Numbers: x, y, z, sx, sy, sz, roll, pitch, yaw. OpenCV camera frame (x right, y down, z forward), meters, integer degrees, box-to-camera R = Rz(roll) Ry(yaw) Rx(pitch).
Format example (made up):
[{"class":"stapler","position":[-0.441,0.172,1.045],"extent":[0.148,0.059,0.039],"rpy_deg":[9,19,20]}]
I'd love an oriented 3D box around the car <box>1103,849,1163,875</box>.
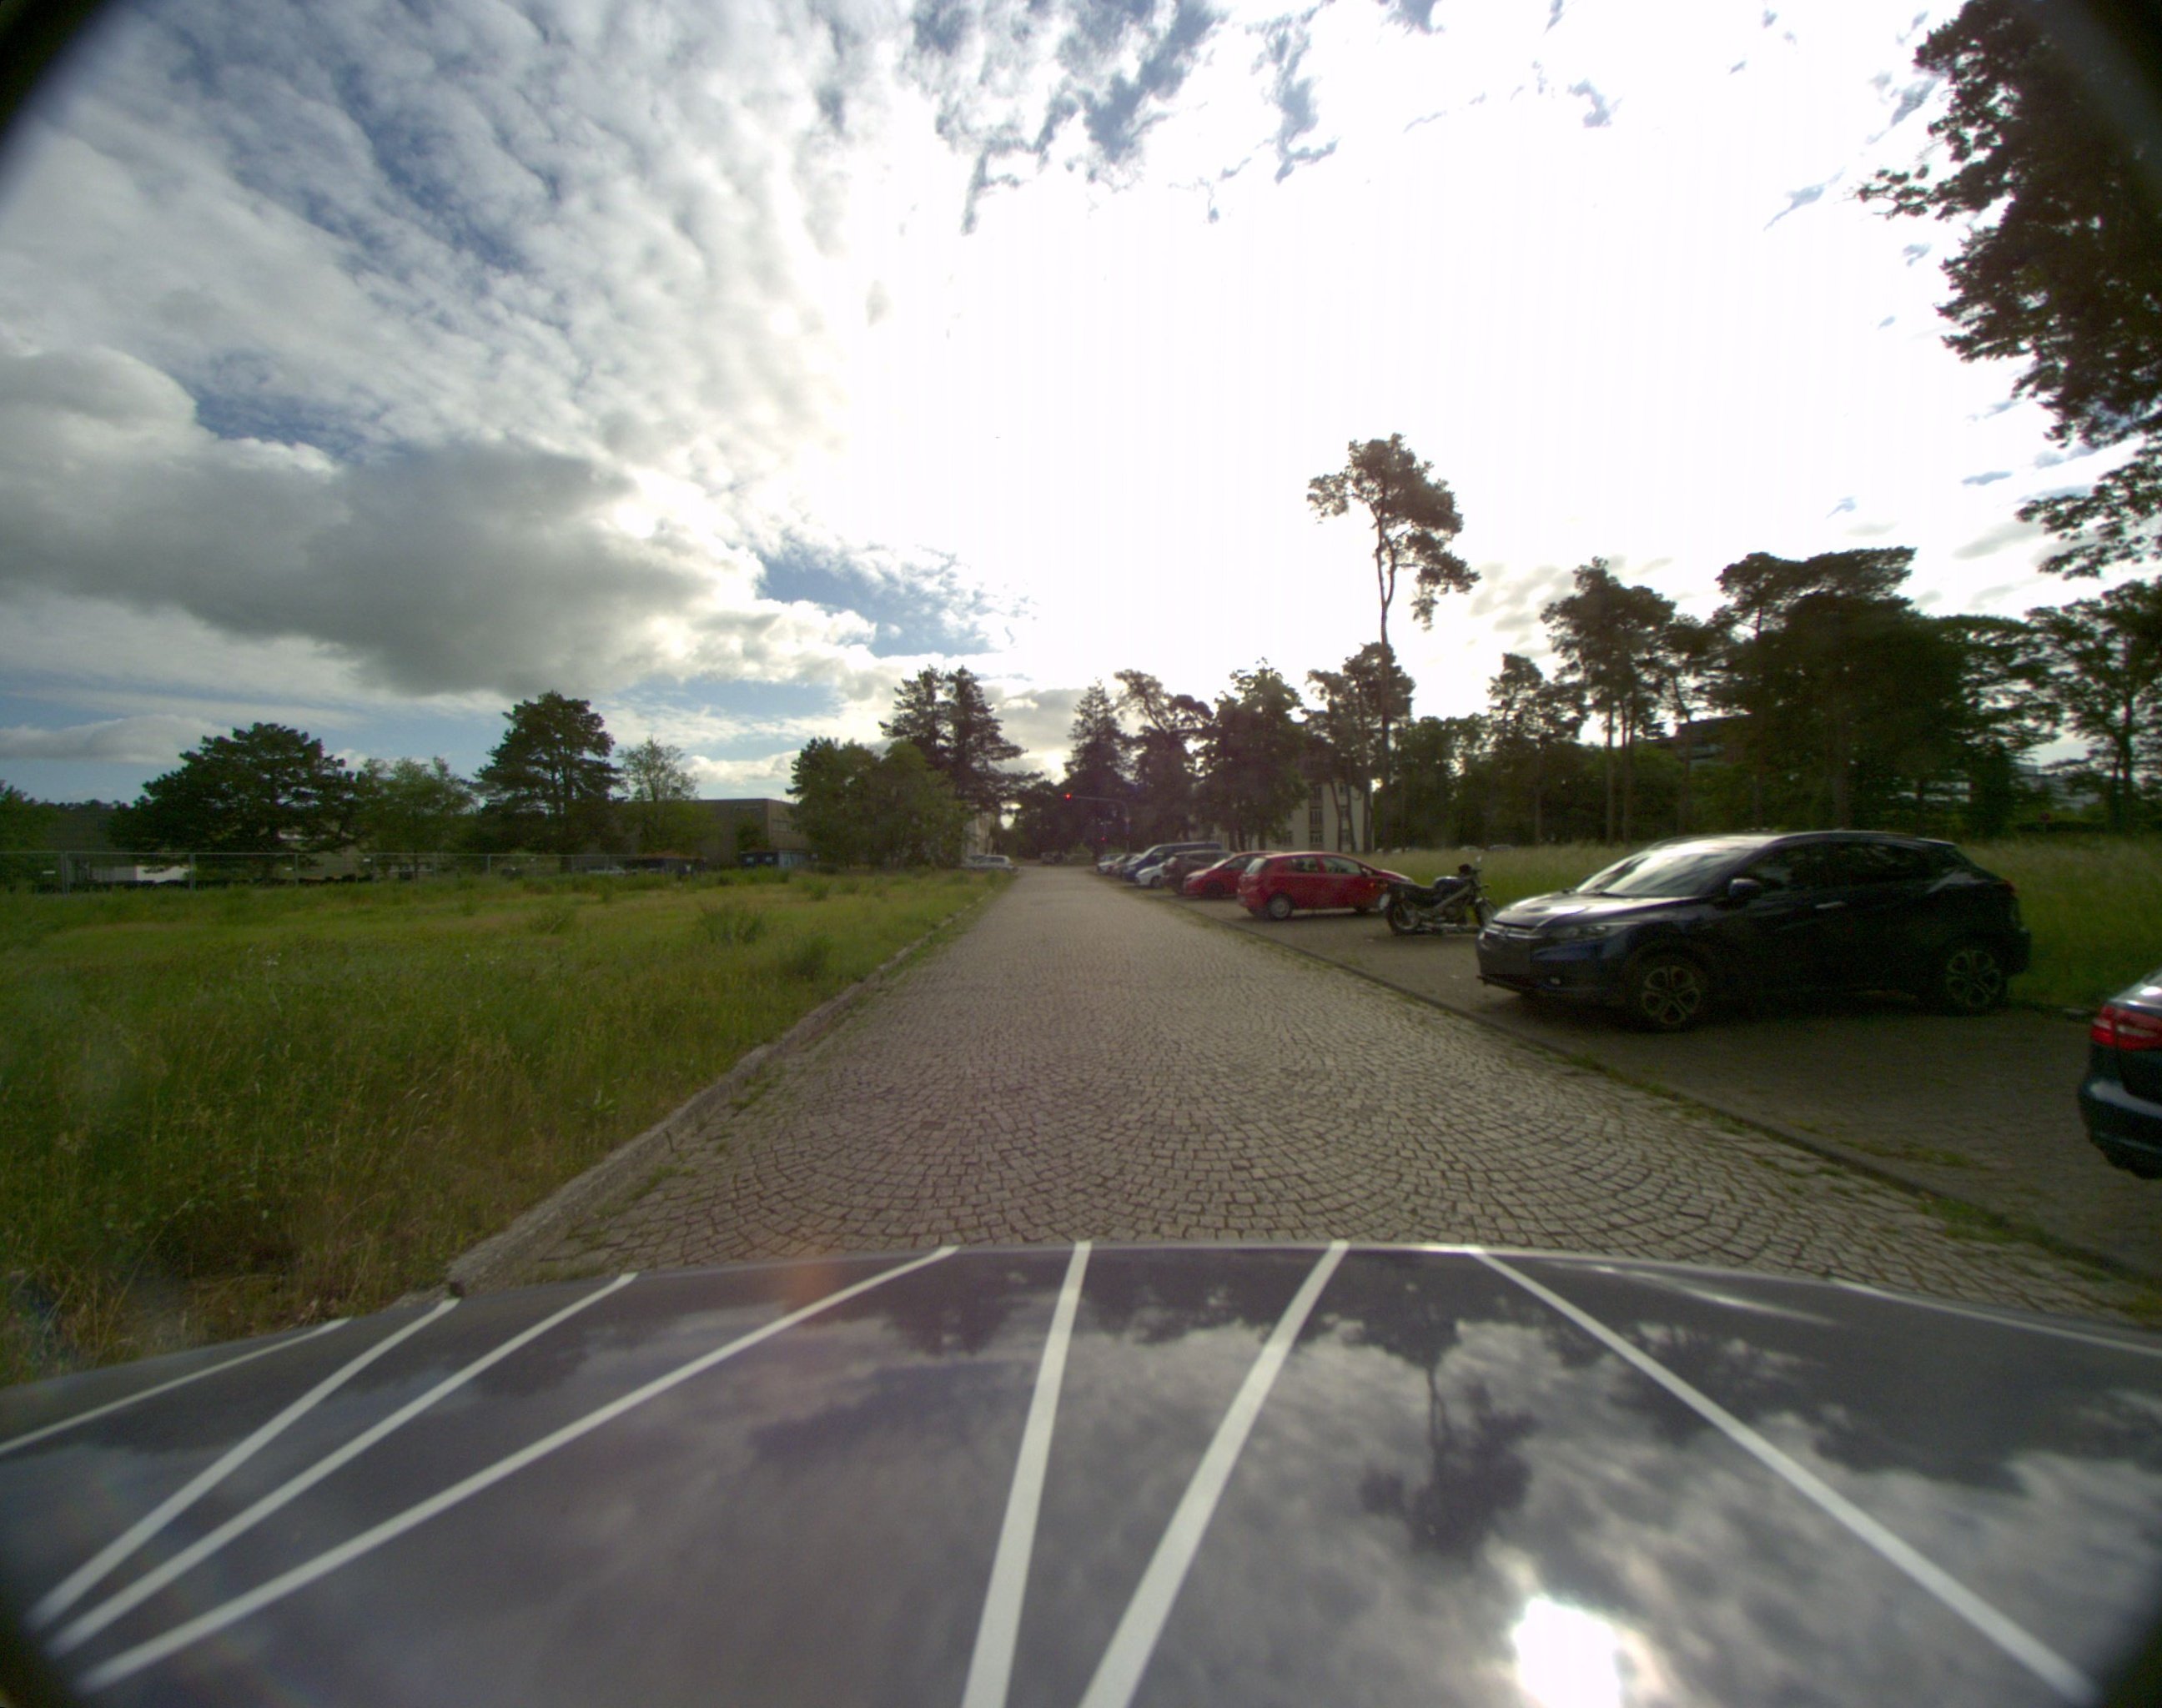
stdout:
[{"class":"car","position":[3.435,0.497,50.434],"extent":[3.573,1.408,1.636],"rpy_deg":[-4,2,-10]}]

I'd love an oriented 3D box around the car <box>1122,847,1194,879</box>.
[{"class":"car","position":[4.238,0.464,42.166],"extent":[3.601,1.446,1.686],"rpy_deg":[-4,2,-10]}]

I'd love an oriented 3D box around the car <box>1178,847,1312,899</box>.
[{"class":"car","position":[5.285,0.613,24.846],"extent":[3.952,1.511,1.707],"rpy_deg":[-2,0,-3]}]

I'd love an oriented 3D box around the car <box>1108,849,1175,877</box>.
[{"class":"car","position":[3.547,0.511,44.720],"extent":[3.601,1.413,1.616],"rpy_deg":[-3,1,-10]}]

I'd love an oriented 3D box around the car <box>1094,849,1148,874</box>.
[{"class":"car","position":[2.871,0.503,54.746],"extent":[3.573,1.479,1.601],"rpy_deg":[-4,2,-11]}]

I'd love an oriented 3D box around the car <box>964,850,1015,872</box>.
[{"class":"car","position":[-7.041,0.550,58.669],"extent":[3.731,1.430,1.625],"rpy_deg":[-3,2,-7]}]

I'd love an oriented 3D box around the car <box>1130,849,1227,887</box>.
[{"class":"car","position":[4.291,0.599,33.886],"extent":[3.931,1.385,1.742],"rpy_deg":[-4,2,-5]}]

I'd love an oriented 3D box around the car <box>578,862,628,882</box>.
[{"class":"car","position":[-46.428,1.731,73.876],"extent":[3.779,1.892,1.995],"rpy_deg":[0,-2,-43]}]

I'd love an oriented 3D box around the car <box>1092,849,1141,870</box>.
[{"class":"car","position":[2.797,0.426,60.286],"extent":[3.456,1.424,1.626],"rpy_deg":[-4,2,-13]}]

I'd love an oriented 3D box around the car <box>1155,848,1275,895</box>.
[{"class":"car","position":[4.814,0.606,27.557],"extent":[3.917,1.594,1.820],"rpy_deg":[-1,0,-5]}]

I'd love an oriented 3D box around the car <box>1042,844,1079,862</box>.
[{"class":"car","position":[-3.405,-0.189,126.898],"extent":[5.798,2.548,2.767],"rpy_deg":[-4,2,-8]}]

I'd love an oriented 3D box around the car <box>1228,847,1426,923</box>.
[{"class":"car","position":[5.485,0.654,17.216],"extent":[3.895,1.470,1.671],"rpy_deg":[-2,1,-3]}]

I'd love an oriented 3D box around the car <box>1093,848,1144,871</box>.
[{"class":"car","position":[2.792,0.400,57.577],"extent":[3.572,1.450,1.625],"rpy_deg":[-4,2,-5]}]

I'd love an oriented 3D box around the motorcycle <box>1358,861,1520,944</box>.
[{"class":"motorcycle","position":[5.997,0.792,12.803],"extent":[2.362,1.280,0.743],"rpy_deg":[-2,1,-3]}]

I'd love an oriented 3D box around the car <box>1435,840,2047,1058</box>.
[{"class":"car","position":[5.711,0.721,6.917],"extent":[4.150,1.564,1.789],"rpy_deg":[-2,2,-4]}]

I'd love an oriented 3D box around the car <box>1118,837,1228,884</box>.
[{"class":"car","position":[4.371,0.296,36.549],"extent":[4.834,1.855,2.160],"rpy_deg":[-4,2,-5]}]

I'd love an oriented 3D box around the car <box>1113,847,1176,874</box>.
[{"class":"car","position":[3.973,0.370,47.801],"extent":[3.573,1.426,1.605],"rpy_deg":[-4,2,-10]}]

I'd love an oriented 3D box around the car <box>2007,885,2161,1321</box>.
[{"class":"car","position":[5.928,0.802,2.182],"extent":[4.442,1.471,1.682],"rpy_deg":[-2,0,1]}]

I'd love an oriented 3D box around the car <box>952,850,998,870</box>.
[{"class":"car","position":[-8.919,0.458,63.963],"extent":[3.732,1.430,1.625],"rpy_deg":[-4,2,-11]}]
